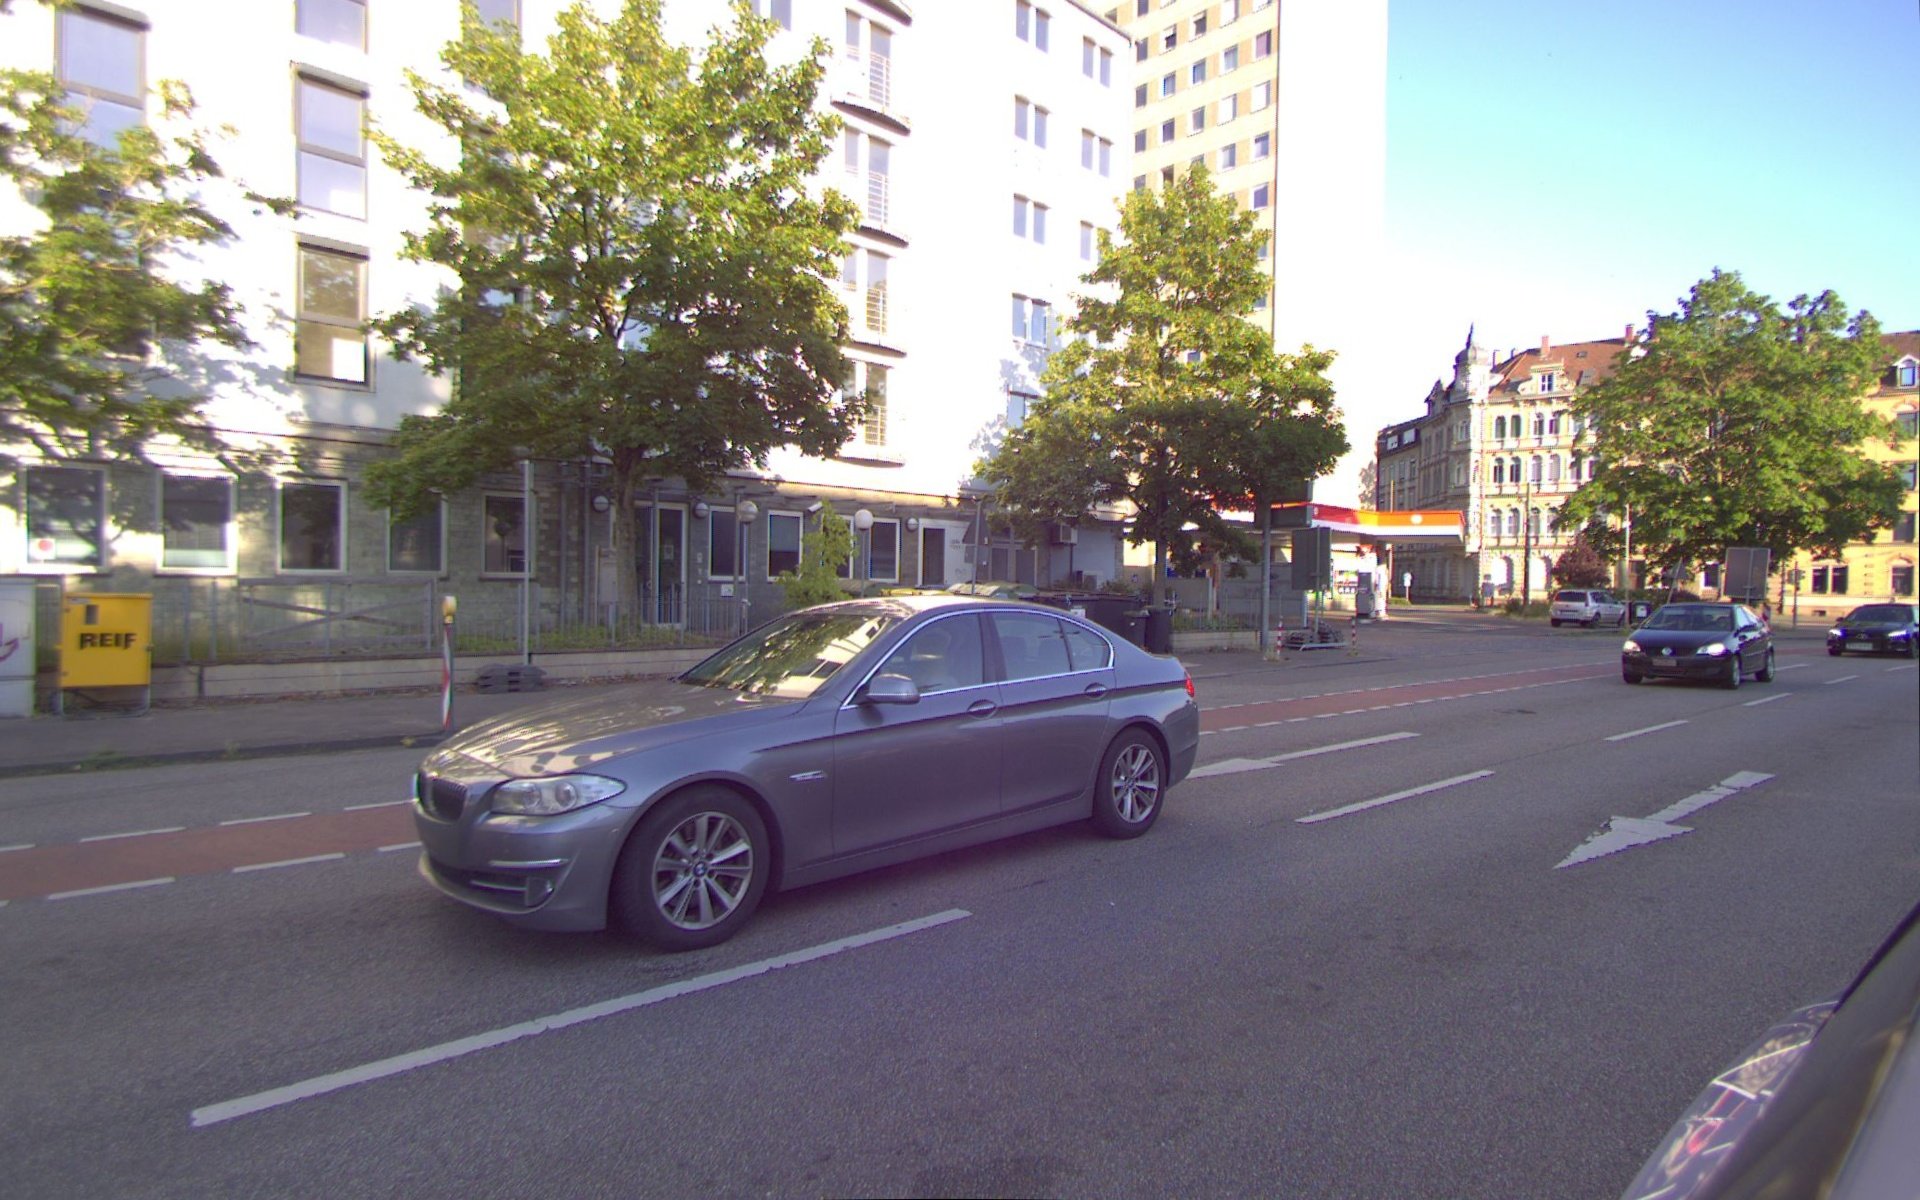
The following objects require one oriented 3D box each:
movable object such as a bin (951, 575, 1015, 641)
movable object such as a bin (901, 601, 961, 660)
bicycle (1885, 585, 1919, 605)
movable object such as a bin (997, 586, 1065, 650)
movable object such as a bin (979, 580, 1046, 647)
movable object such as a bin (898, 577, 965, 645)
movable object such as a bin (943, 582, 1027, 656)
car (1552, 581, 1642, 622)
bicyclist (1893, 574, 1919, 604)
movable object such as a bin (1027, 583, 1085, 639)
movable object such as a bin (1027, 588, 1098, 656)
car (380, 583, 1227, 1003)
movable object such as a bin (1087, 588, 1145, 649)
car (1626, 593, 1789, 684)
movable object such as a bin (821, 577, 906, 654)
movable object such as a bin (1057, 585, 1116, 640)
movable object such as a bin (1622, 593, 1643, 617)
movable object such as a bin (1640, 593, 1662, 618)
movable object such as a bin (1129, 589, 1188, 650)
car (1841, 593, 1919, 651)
[{"bbox_3d":[0.552,0.166,24.185,1.143,1.517,1.033,0,1,-44],"label":"movable object such as a bin"},{"bbox_3d":[-0.559,0.571,19.472,0.851,1.058,0.807,2,1,45],"label":"movable object such as a bin"},{"bbox_3d":[53.789,-0.290,57.418,1.920,1.072,0.444,2,1,43],"label":"bicycle"},{"bbox_3d":[1.559,0.371,22.063,1.143,1.345,0.954,0,1,-44],"label":"movable object such as a bin"},{"bbox_3d":[1.201,0.279,23.192,1.143,1.467,1.033,0,1,-44],"label":"movable object such as a bin"},{"bbox_3d":[-0.665,0.233,23.623,1.143,1.517,1.033,0,1,-44],"label":"movable object such as a bin"},{"bbox_3d":[0.509,0.359,20.818,1.088,1.441,1.348,0,2,-45],"label":"movable object such as a bin"},{"bbox_3d":[25.769,0.027,40.902,3.723,1.535,1.691,-1,2,-34],"label":"car"},{"bbox_3d":[53.784,-0.643,57.494,1.062,1.669,0.721,2,1,43],"label":"bicyclist"},{"bbox_3d":[2.400,0.257,25.346,1.080,1.345,0.954,0,1,-44],"label":"movable object such as a bin"},{"bbox_3d":[2.143,0.428,21.111,1.143,1.345,0.954,0,1,-44],"label":"movable object such as a bin"},{"bbox_3d":[-0.515,0.658,5.788,4.588,1.467,1.817,0,0,-43],"label":"car"},{"bbox_3d":[3.636,0.411,23.606,0.938,1.345,0.954,0,1,-43],"label":"movable object such as a bin"},{"bbox_3d":[13.498,0.608,18.205,3.804,1.467,1.583,0,0,-41],"label":"car"},{"bbox_3d":[-1.947,0.284,20.403,1.088,1.479,1.348,0,1,-45],"label":"movable object such as a bin"},{"bbox_3d":[3.080,0.287,24.617,1.080,1.299,0.954,0,1,-44],"label":"movable object such as a bin"},{"bbox_3d":[29.106,0.208,43.781,0.675,1.031,0.544,0,1,-36],"label":"movable object such as a bin"},{"bbox_3d":[29.420,0.224,43.095,0.675,1.031,0.544,0,1,-36],"label":"movable object such as a bin"},{"bbox_3d":[4.539,0.424,23.175,0.938,1.345,0.954,0,1,-43],"label":"movable object such as a bin"},{"bbox_3d":[25.666,0.548,27.762,3.975,1.467,1.730,0,0,-41],"label":"car"}]
